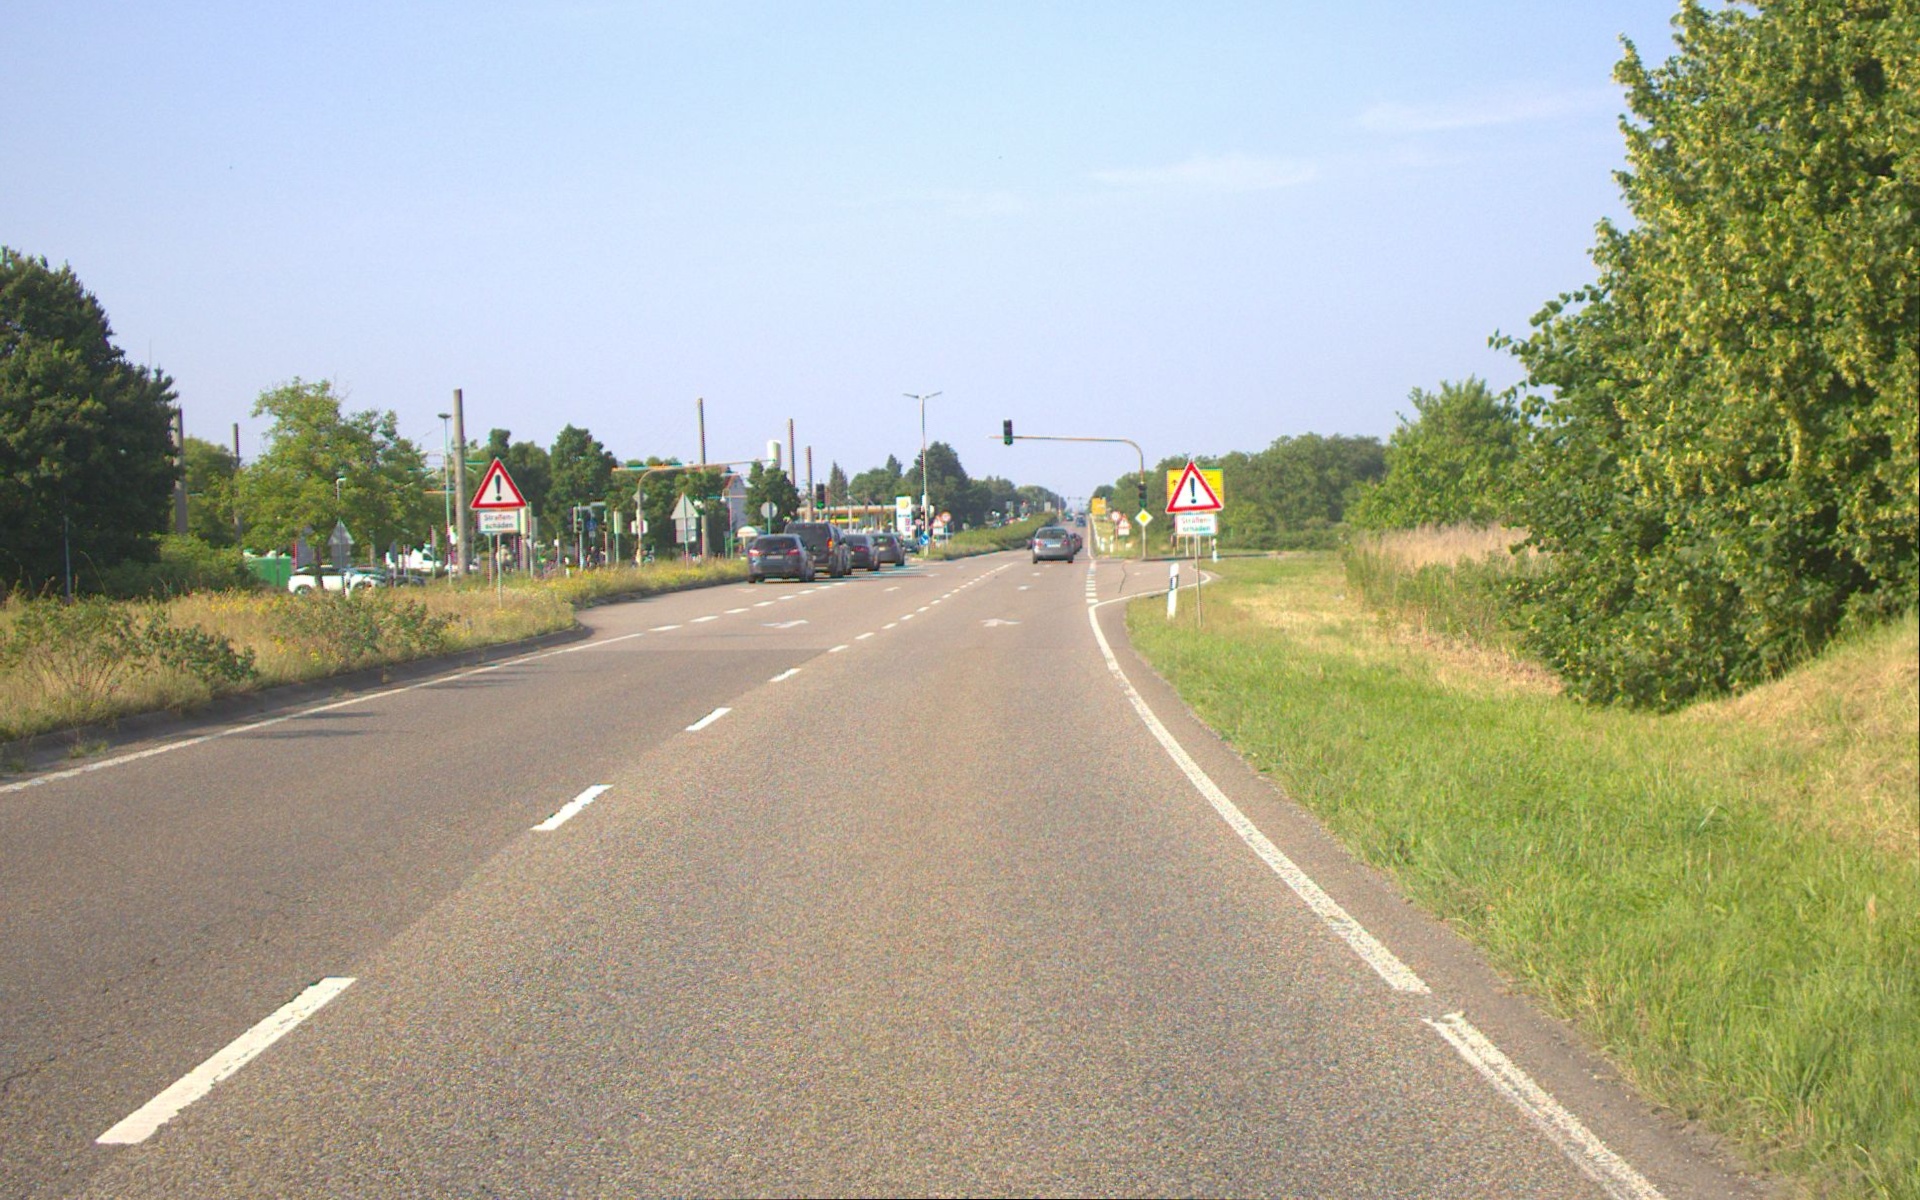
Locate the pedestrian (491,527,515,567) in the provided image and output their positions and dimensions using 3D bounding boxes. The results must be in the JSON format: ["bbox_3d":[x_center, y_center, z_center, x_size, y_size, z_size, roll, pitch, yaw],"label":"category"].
[{"bbox_3d":[-19.873,-2.313,149.520,0.915,1.700,1.067,0,0,-3],"label":"pedestrian"}]

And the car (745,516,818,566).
[{"bbox_3d":[-5.393,-1.805,104.219,1.732,1.451,4.520,-1,1,3],"label":"car"}]

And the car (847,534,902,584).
[{"bbox_3d":[-3.656,-1.753,147.650,1.993,2.007,4.836,-1,-1,2],"label":"car"}]

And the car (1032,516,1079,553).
[{"bbox_3d":[4.231,-2.895,151.742,1.994,1.546,4.000,-1,1,3],"label":"car"}]

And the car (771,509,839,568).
[{"bbox_3d":[-4.999,-2.002,111.094,1.732,1.849,4.520,-1,1,3],"label":"car"}]

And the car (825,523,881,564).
[{"bbox_3d":[-4.020,-2.130,129.515,1.770,1.466,4.015,-1,1,3],"label":"car"}]

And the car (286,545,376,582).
[{"bbox_3d":[-28.334,-1.634,154.917,3.986,1.656,1.888,0,0,-10],"label":"car"}]

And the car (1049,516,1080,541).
[{"bbox_3d":[6.981,-4.772,229.174,1.993,1.590,4.000,-2,1,2],"label":"car"}]
